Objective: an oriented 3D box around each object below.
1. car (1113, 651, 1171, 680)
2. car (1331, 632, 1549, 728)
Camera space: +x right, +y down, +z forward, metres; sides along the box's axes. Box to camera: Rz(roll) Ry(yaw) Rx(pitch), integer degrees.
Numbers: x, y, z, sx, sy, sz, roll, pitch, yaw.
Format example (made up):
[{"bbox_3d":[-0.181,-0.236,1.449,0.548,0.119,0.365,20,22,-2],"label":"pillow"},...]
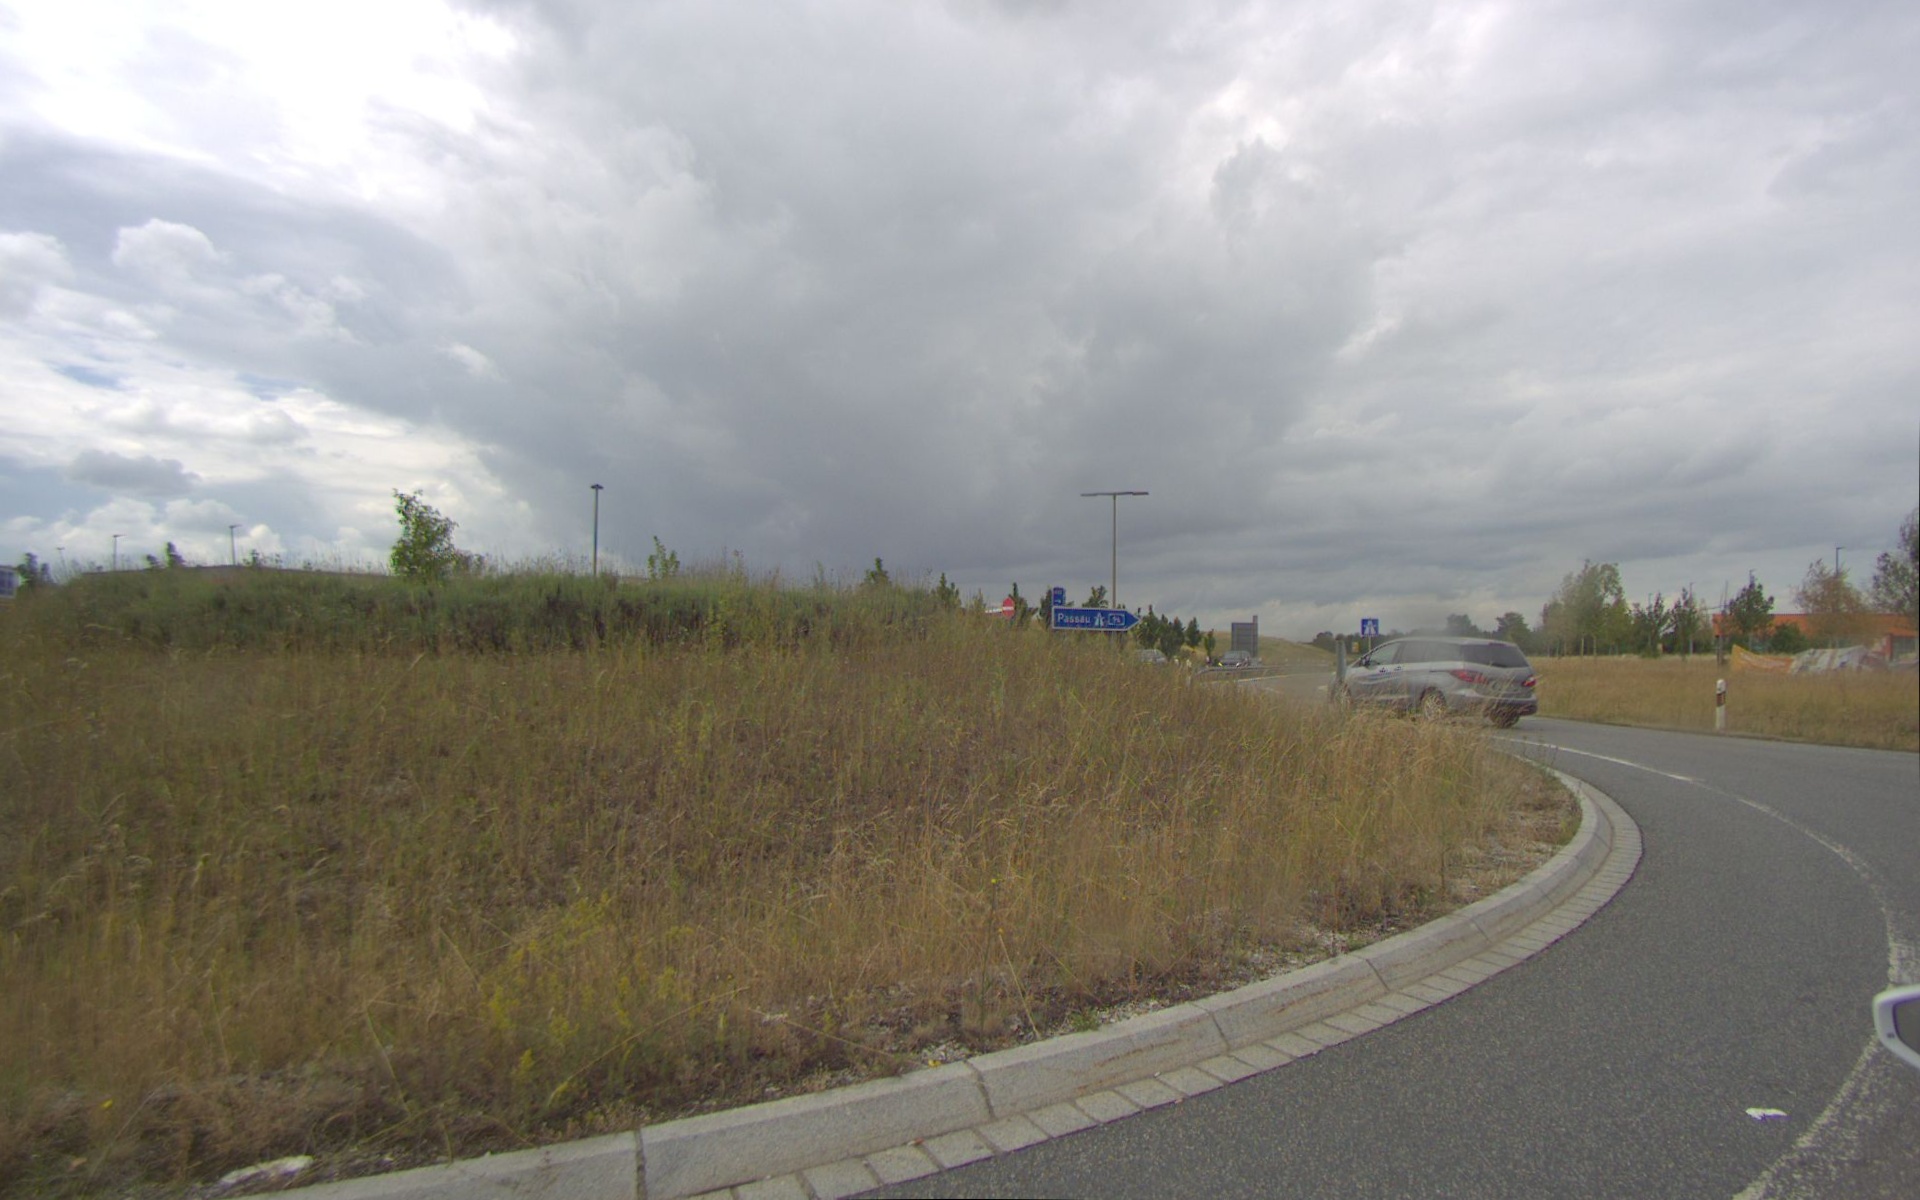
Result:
[{"bbox_3d":[10.154,3.646,55.723,1.705,1.511,4.536,1,-3,30],"label":"car"},{"bbox_3d":[9.161,1.466,19.548,1.714,1.619,3.988,2,-2,-13],"label":"car"}]
